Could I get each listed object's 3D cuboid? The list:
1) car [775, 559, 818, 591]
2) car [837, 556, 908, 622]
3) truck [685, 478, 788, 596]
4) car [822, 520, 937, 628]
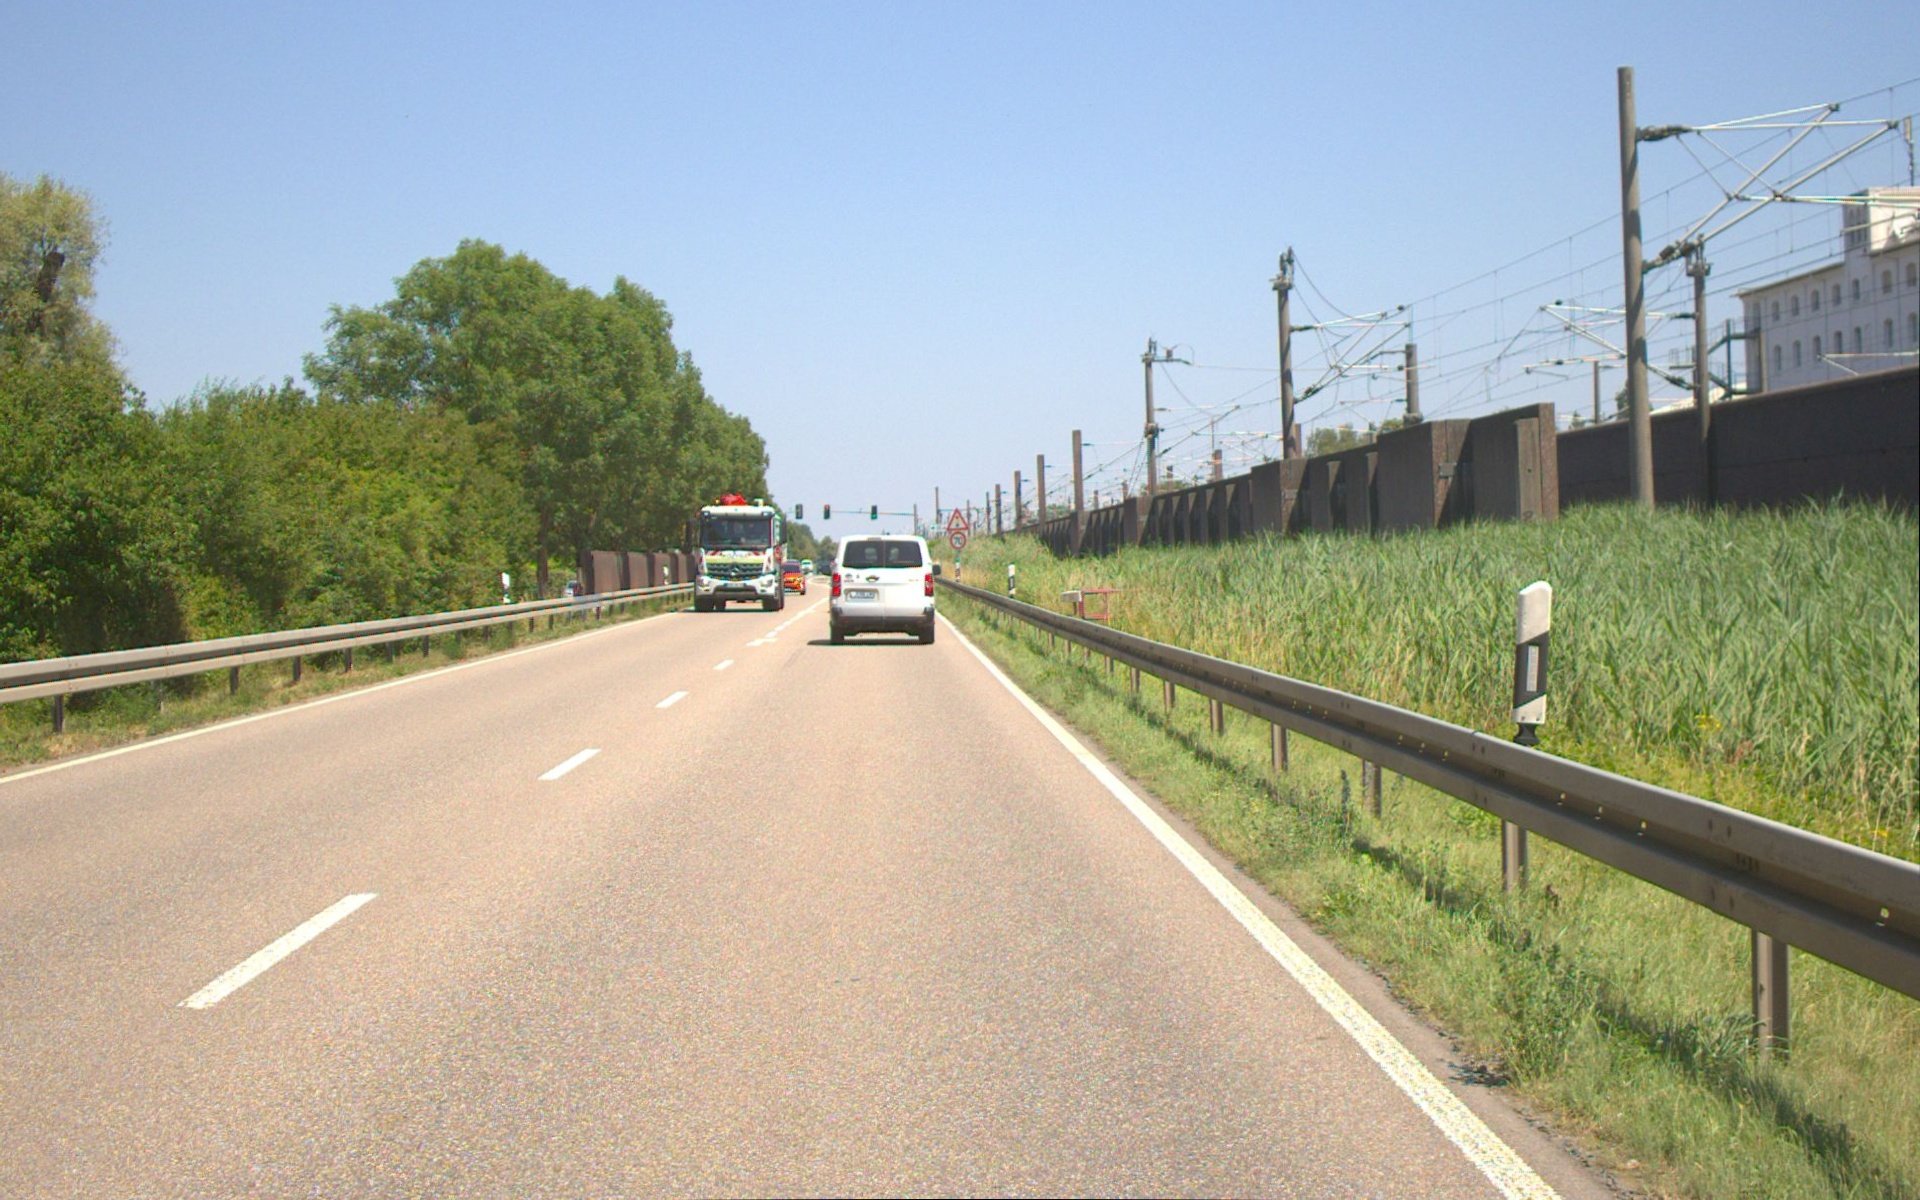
[{"bbox_3d":[-7.248,-1.120,152.800,1.789,1.417,4.000,-1,1,-1],"label":"car"},{"bbox_3d":[-2.525,-0.340,99.380,1.993,1.843,4.000,0,1,-1],"label":"car"},{"bbox_3d":[-6.685,-1.897,103.854,2.783,3.393,7.989,0,1,-2],"label":"truck"},{"bbox_3d":[-1.434,-0.483,61.554,1.993,1.843,4.000,0,1,-1],"label":"car"}]
